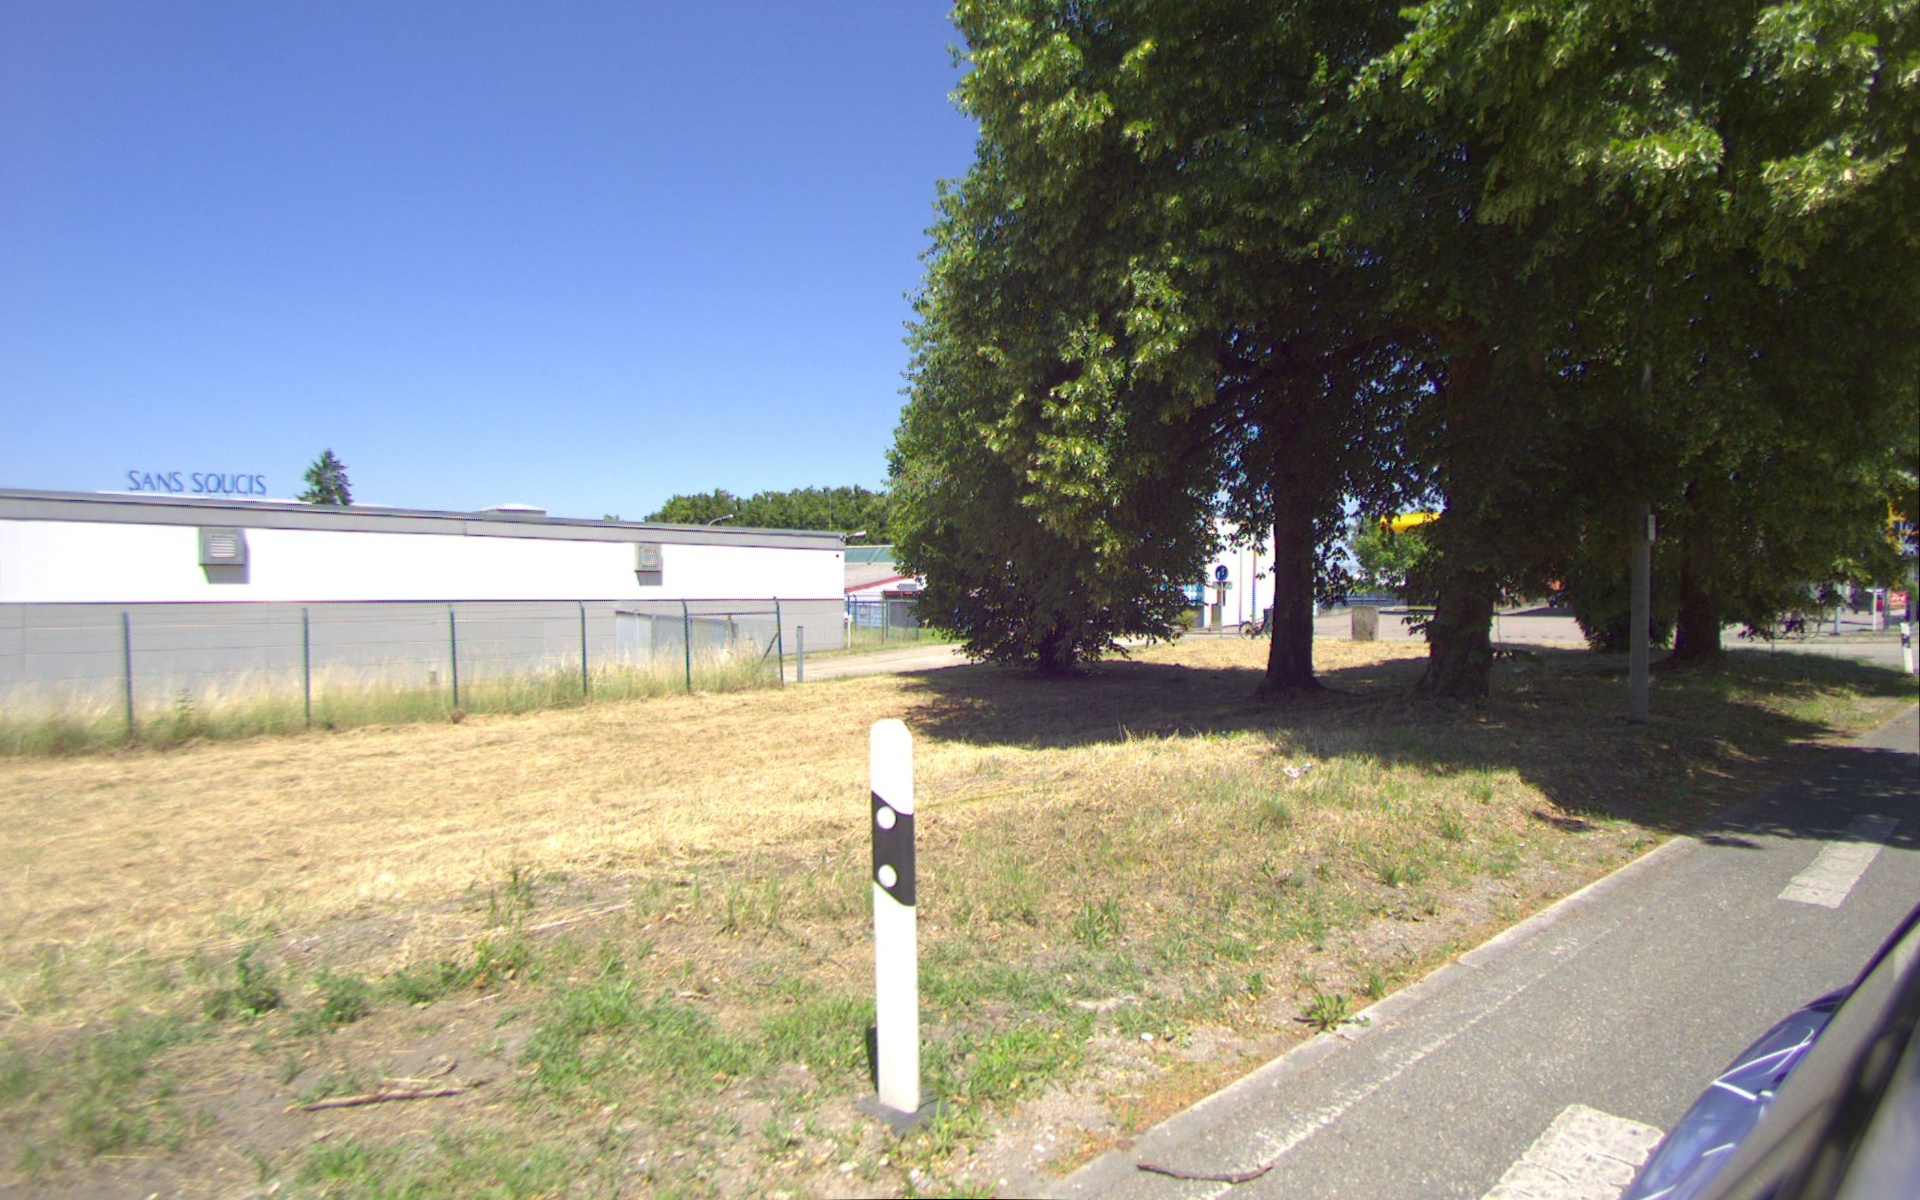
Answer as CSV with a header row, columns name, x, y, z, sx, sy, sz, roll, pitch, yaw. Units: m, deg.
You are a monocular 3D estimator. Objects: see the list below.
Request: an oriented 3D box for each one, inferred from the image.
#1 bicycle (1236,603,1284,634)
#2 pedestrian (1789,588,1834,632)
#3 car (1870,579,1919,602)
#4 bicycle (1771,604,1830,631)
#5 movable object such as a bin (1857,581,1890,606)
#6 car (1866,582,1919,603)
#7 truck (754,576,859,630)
name,x,y,z,sx,sy,sz,roll,pitch,yaw
bicycle,11.026,0.655,37.218,0.459,1.111,1.696,-1,0,-39
pedestrian,28.585,0.338,33.994,0.854,1.439,0.769,-1,0,9
car,81.498,-0.829,87.462,4.126,1.963,1.783,0,0,39
bicycle,28.637,0.591,34.496,1.572,0.923,0.378,-1,0,10
movable object such as a bin,55.860,-0.404,61.885,1.435,1.455,1.444,2,2,45
car,72.452,-0.607,77.746,4.224,1.554,1.928,2,1,43
truck,-11.476,0.246,74.966,9.451,3.767,2.527,-1,0,45
